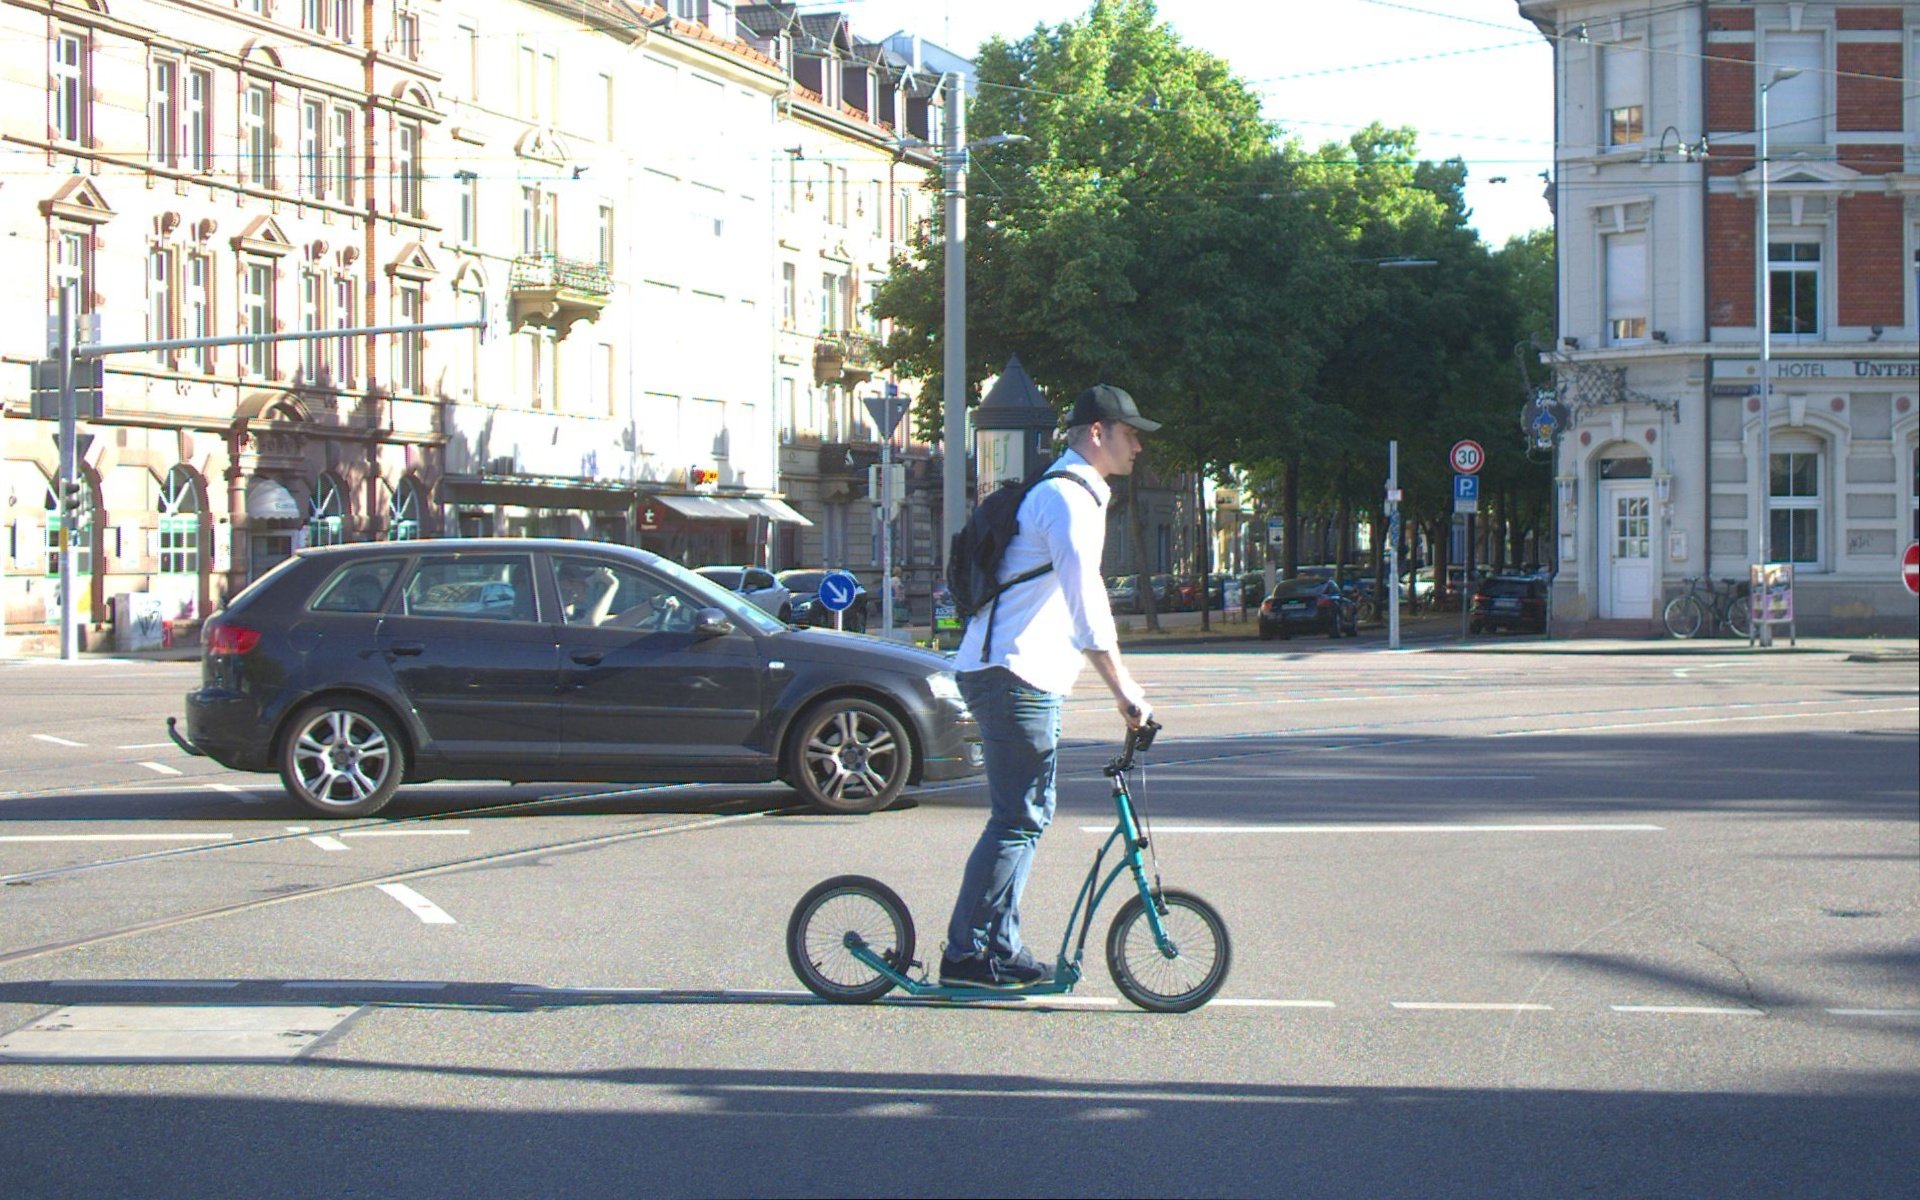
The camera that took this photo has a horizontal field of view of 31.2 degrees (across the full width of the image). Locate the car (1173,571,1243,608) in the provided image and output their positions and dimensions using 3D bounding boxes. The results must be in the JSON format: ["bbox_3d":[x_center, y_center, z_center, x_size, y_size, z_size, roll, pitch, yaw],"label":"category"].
[{"bbox_3d":[9.878,-0.442,136.599,1.995,1.400,4.166,0,1,16],"label":"car"}]

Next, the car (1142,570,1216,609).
[{"bbox_3d":[8.401,-0.411,131.402,1.995,1.400,4.166,0,1,16],"label":"car"}]

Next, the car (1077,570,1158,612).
[{"bbox_3d":[5.648,-0.334,122.574,1.995,1.400,4.166,0,1,16],"label":"car"}]

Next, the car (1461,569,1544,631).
[{"bbox_3d":[13.044,-0.020,82.524,1.756,1.415,3.998,0,1,12],"label":"car"}]

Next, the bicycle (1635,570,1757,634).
[{"bbox_3d":[12.267,0.029,57.337,1.953,1.050,0.715,0,1,10],"label":"bicycle"}]

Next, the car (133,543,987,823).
[{"bbox_3d":[-2.084,0.395,18.130,4.270,1.376,1.646,0,1,-7],"label":"car"}]

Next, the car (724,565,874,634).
[{"bbox_3d":[-3.402,-0.039,73.639,1.995,1.400,4.166,0,1,16],"label":"car"}]

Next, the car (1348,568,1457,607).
[{"bbox_3d":[14.359,-0.422,111.461,3.435,1.235,1.576,0,1,11],"label":"car"}]

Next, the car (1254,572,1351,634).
[{"bbox_3d":[7.602,0.050,76.046,1.718,1.296,4.071,0,1,12],"label":"car"}]

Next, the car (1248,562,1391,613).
[{"bbox_3d":[10.444,-0.356,99.680,3.989,1.450,1.681,0,1,11],"label":"car"}]

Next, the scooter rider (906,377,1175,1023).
[{"bbox_3d":[0.233,0.287,10.535,0.795,1.905,0.797,0,1,-1],"label":"scooter rider"}]

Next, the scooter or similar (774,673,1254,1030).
[{"bbox_3d":[0.157,0.756,10.527,1.431,1.040,0.565,0,1,-1],"label":"scooter or similar"}]

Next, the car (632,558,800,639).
[{"bbox_3d":[-4.755,-0.052,67.465,1.995,1.511,4.166,0,1,16],"label":"car"}]

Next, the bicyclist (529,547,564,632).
[{"bbox_3d":[-7.842,-0.202,65.189,0.489,1.596,0.666,0,1,10],"label":"bicyclist"}]

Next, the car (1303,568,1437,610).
[{"bbox_3d":[12.574,-0.342,105.388,3.989,1.284,1.694,0,1,11],"label":"car"}]
